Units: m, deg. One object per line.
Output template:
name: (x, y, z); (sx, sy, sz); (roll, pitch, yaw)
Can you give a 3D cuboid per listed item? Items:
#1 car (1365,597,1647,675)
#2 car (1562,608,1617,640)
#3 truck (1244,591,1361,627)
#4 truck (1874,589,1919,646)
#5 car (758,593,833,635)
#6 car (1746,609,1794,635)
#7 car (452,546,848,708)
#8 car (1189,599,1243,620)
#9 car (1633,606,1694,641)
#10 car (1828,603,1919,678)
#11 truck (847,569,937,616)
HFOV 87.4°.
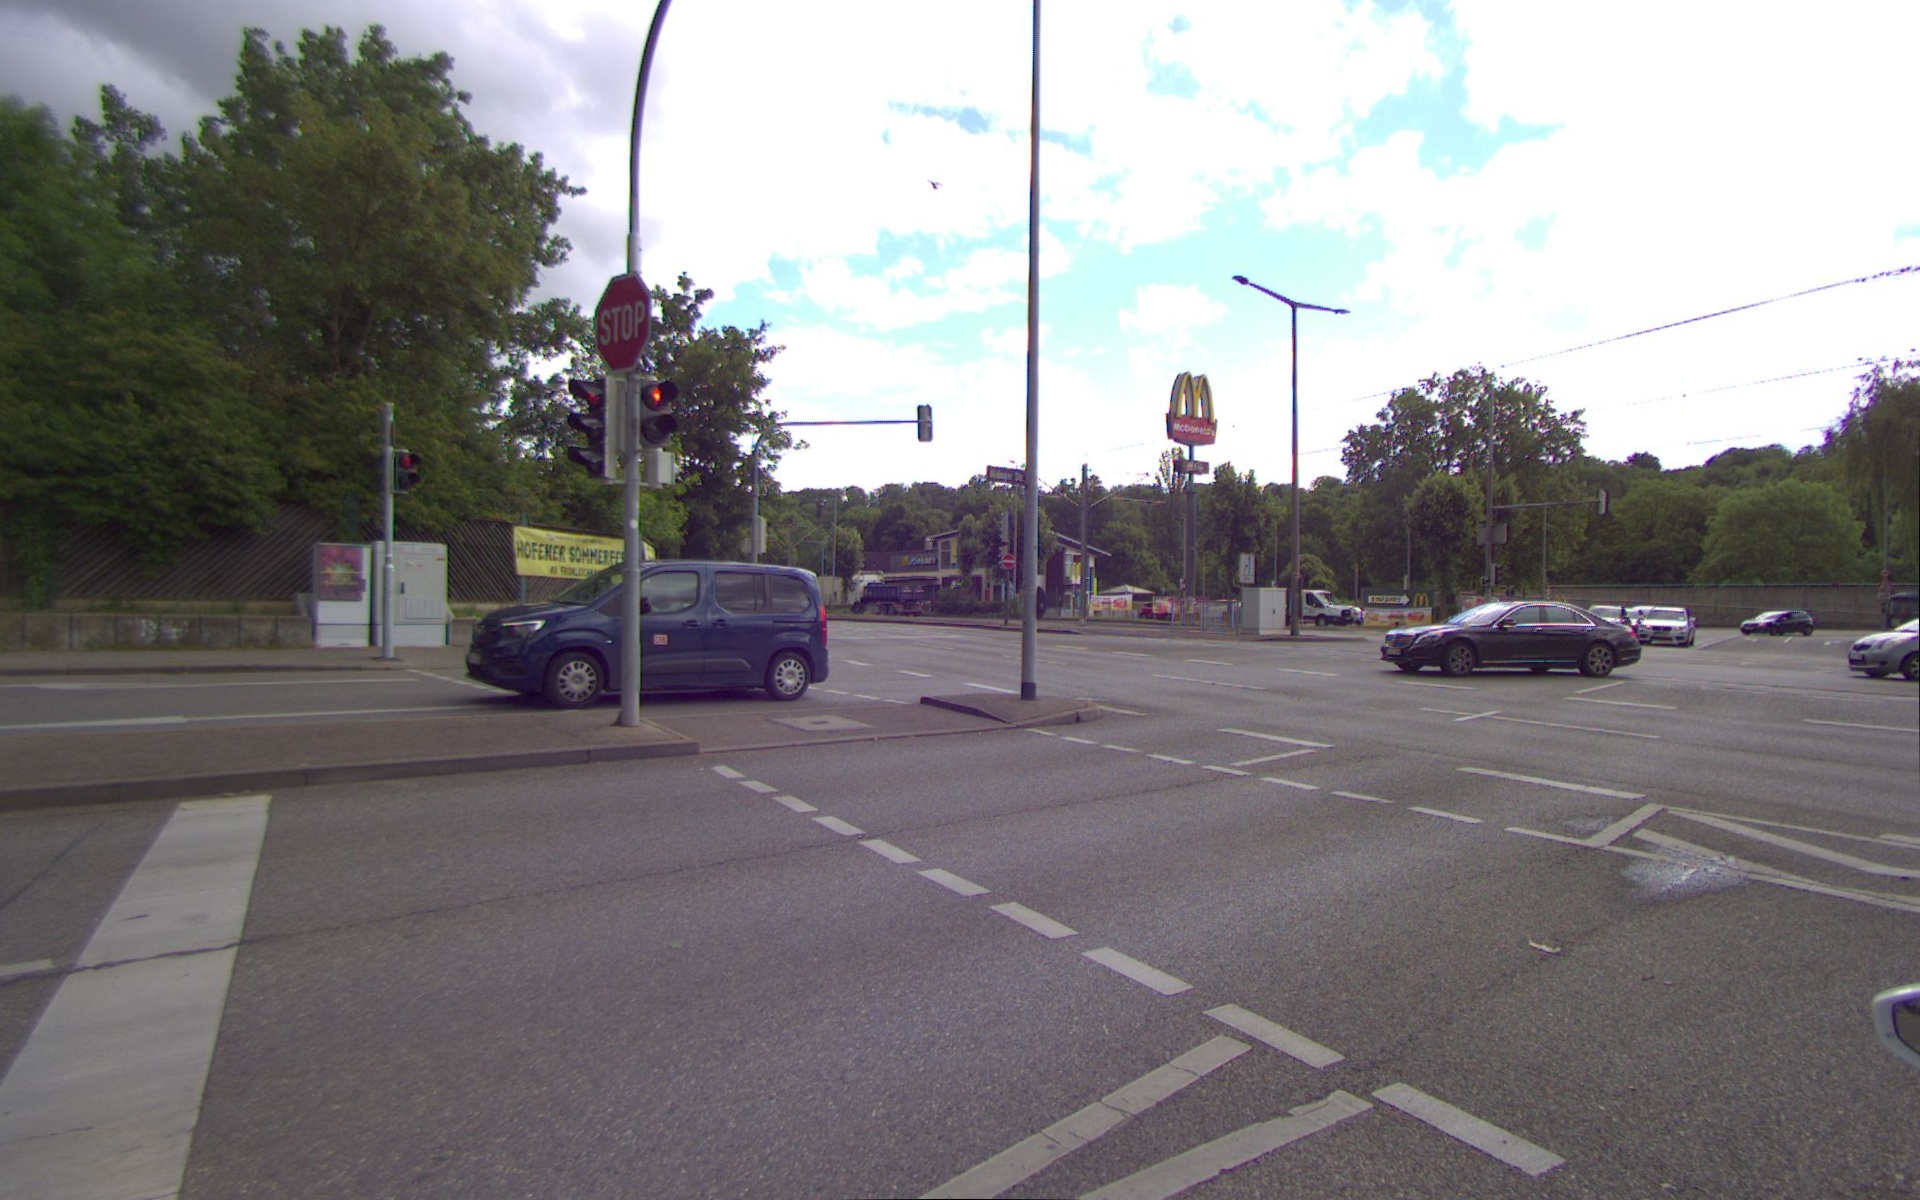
car: (11.115, 0.709, 20.633); (4.900, 1.470, 1.830); (1, 0, -5)
car: (30.812, 1.151, 49.233); (1.762, 1.451, 3.639); (1, 0, 24)
truck: (20.037, 0.513, 59.068); (2.576, 1.930, 6.134); (2, -1, -36)
truck: (45.397, 0.826, 47.211); (5.767, 2.527, 2.363); (1, 0, -35)
car: (-6.197, 0.508, 37.483); (1.698, 1.437, 3.975); (2, 0, -25)
car: (48.343, 1.307, 59.933); (1.772, 1.451, 4.256); (1, 0, 45)
car: (-3.822, 0.330, 12.804); (4.437, 1.728, 1.811); (2, 0, -39)
car: (20.010, 0.734, 78.591); (1.764, 1.549, 3.962); (2, 0, -34)
car: (31.511, 1.023, 44.941); (1.770, 1.451, 4.396); (1, 0, 41)
car: (20.701, 0.858, 20.804); (3.714, 1.507, 1.676); (1, 0, 20)
truck: (-5.735, -0.639, 83.412); (3.404, 3.607, 8.613); (2, 0, -35)
